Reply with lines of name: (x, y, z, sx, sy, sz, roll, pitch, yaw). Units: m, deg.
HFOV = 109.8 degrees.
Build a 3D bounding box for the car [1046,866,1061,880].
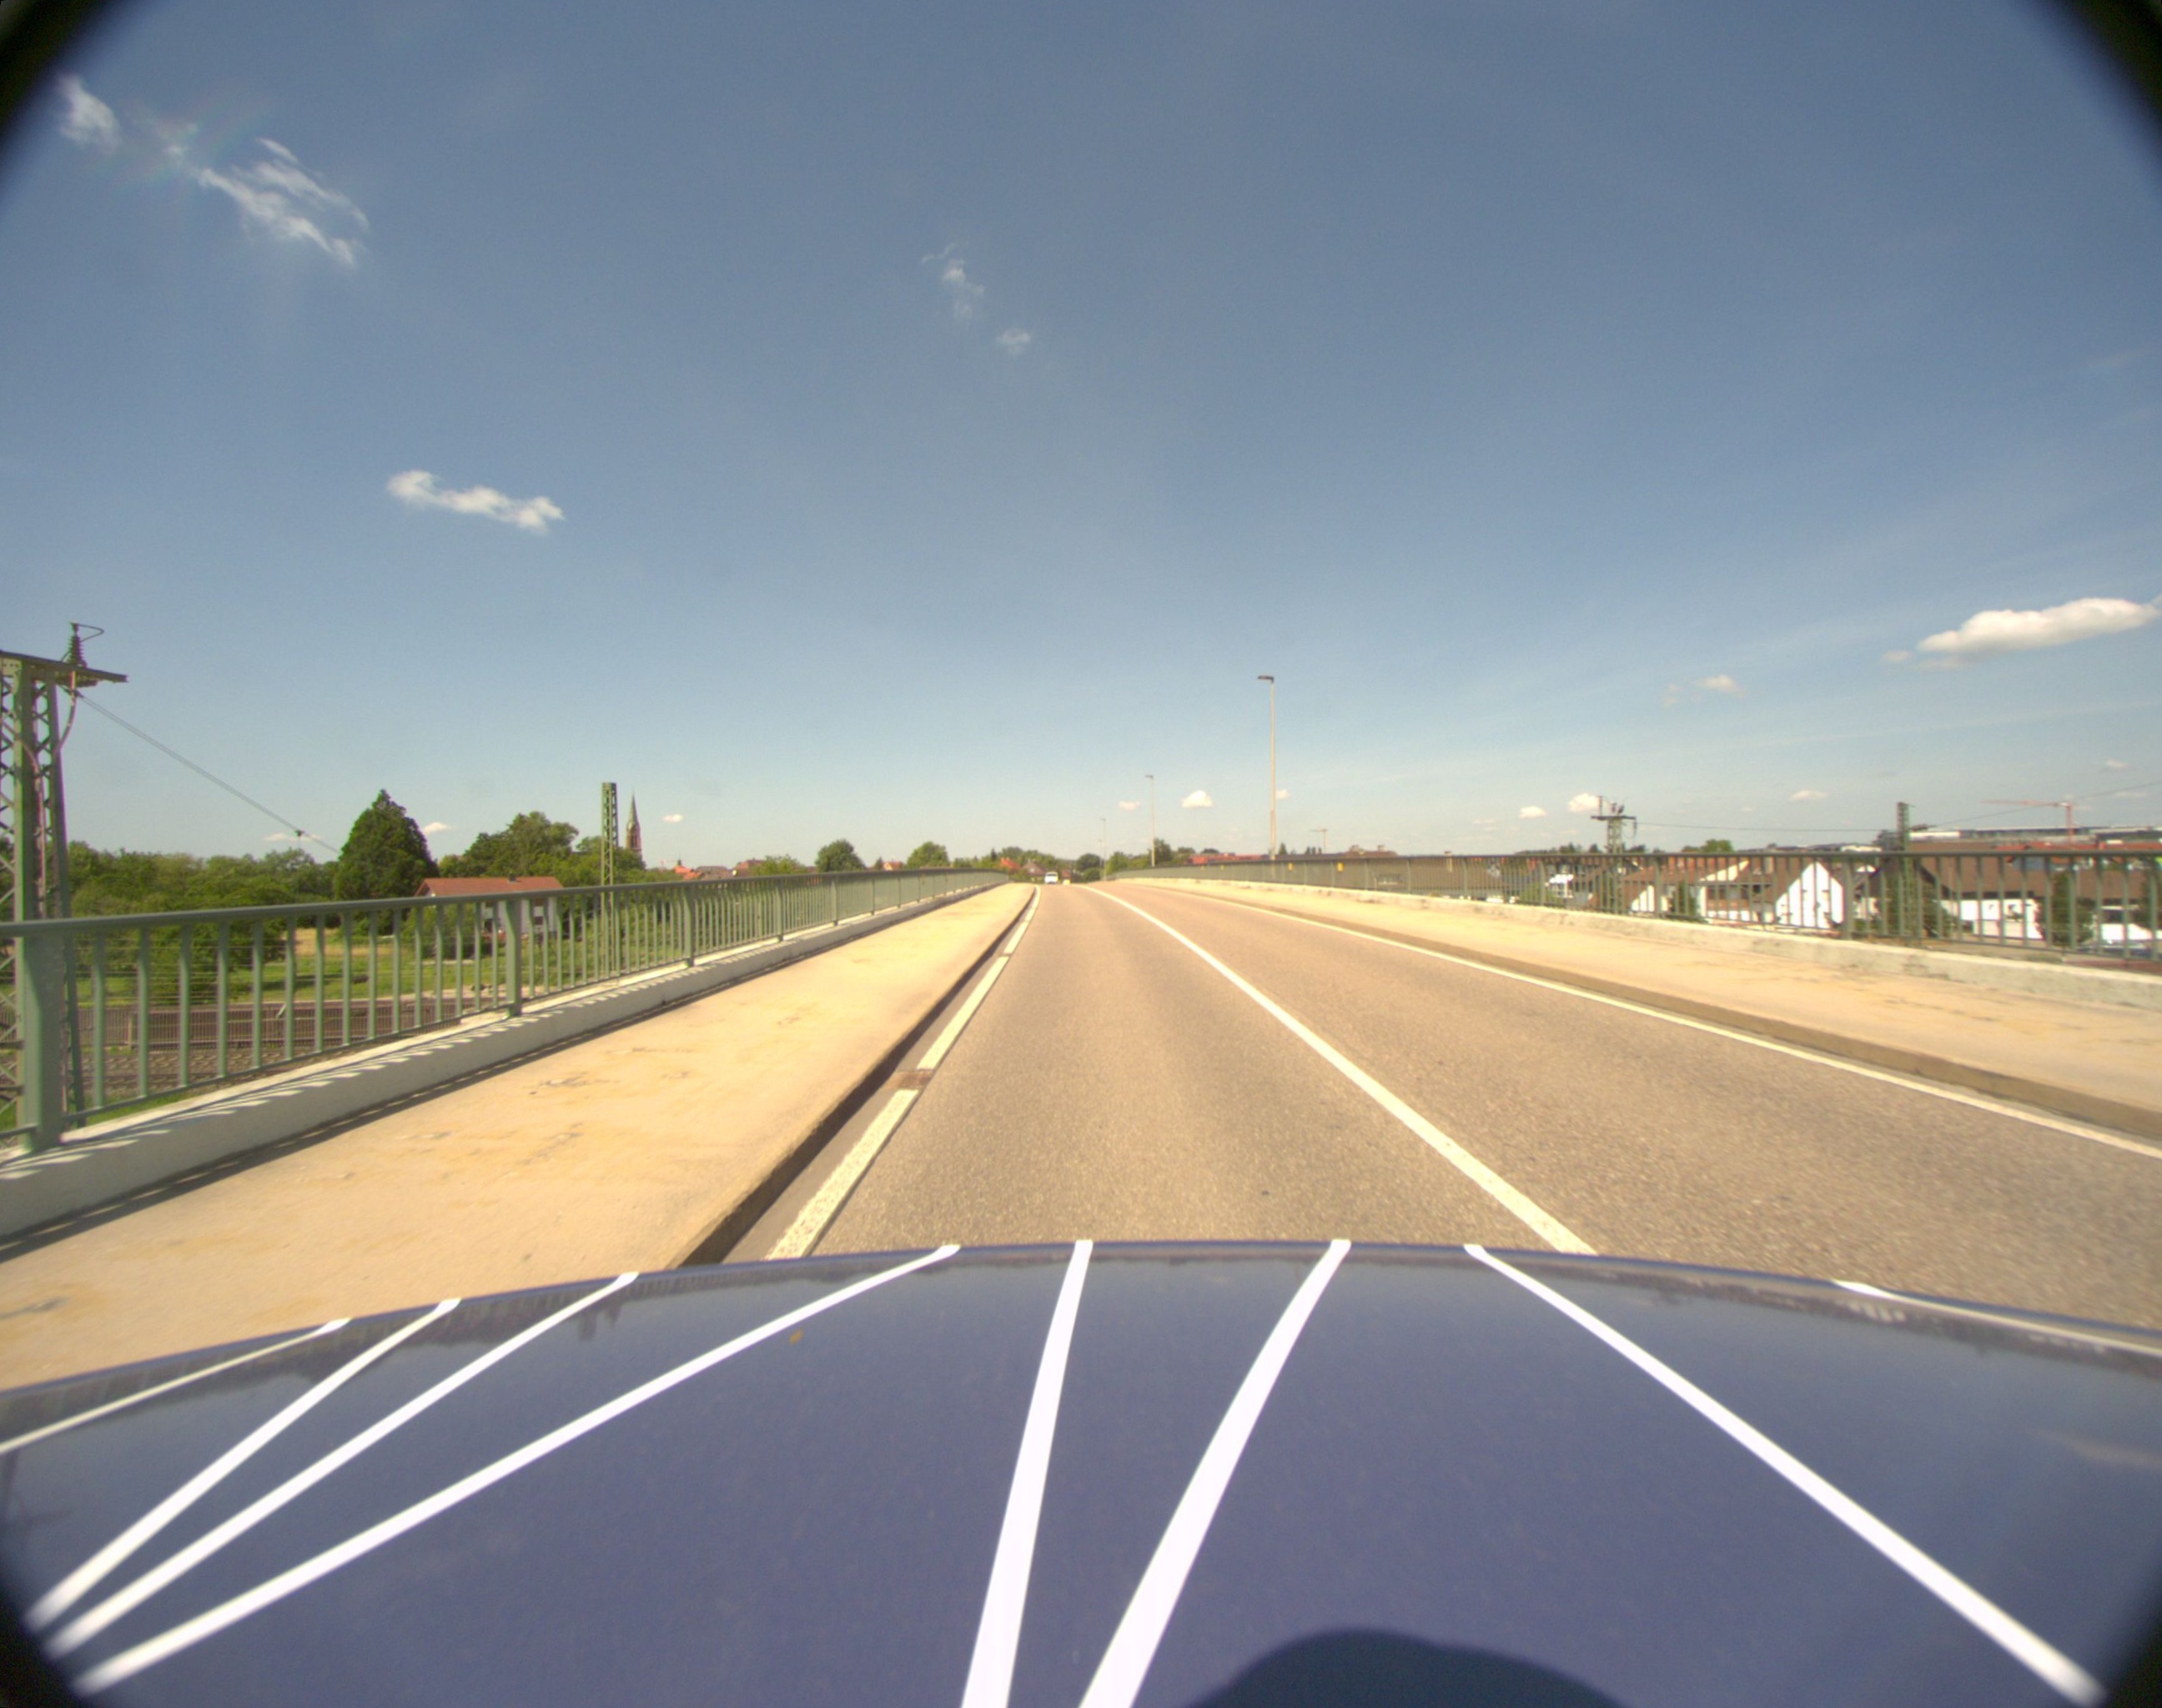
car: (-3.896, 2.737, 109.329, 2.093, 1.750, 4.282, -2, 0, -1)
